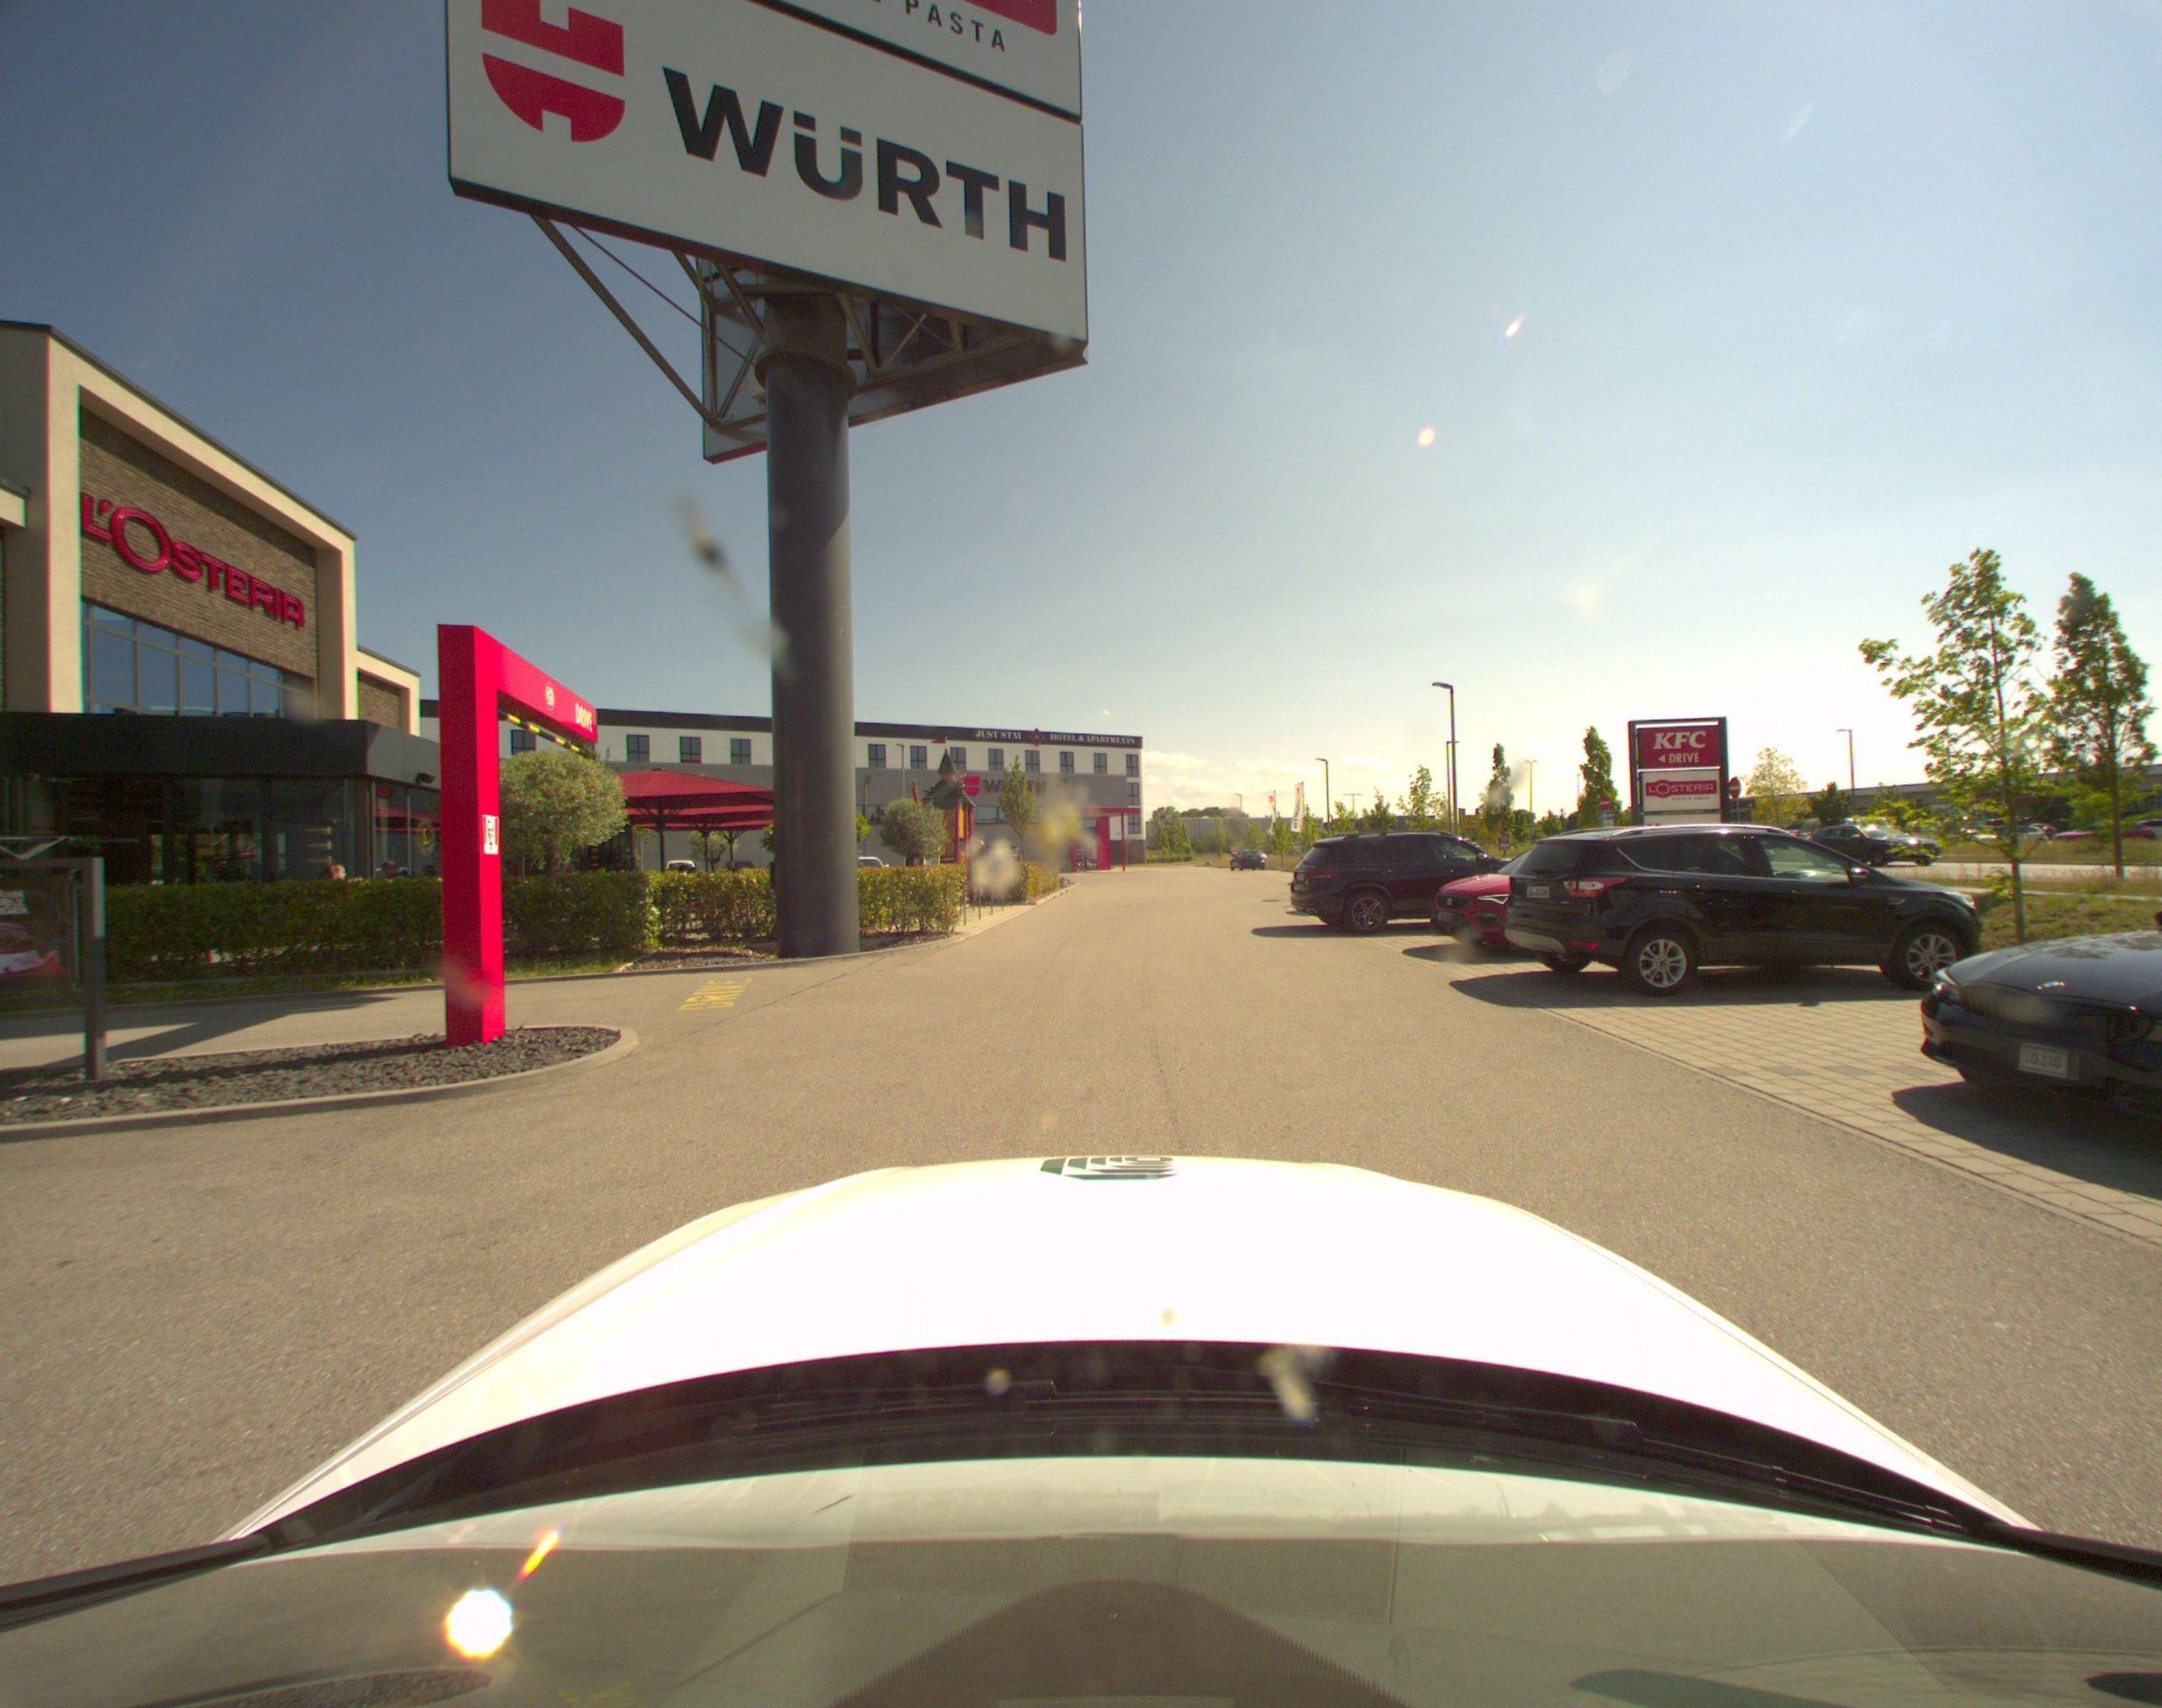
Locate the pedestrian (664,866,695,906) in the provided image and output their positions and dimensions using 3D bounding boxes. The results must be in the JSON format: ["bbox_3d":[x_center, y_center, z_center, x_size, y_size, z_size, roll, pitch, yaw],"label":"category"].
[{"bbox_3d":[-11.201,0.888,22.717,0.575,1.089,0.544,-1,0,-1],"label":"pedestrian"}]

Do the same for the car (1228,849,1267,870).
[{"bbox_3d":[11.549,0.390,56.671,1.695,1.406,3.892,-1,0,-3],"label":"car"}]

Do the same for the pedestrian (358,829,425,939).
[{"bbox_3d":[-9.735,0.412,11.519,0.526,1.505,0.565,-2,0,-20],"label":"pedestrian"}]

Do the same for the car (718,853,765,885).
[{"bbox_3d":[-17.970,0.753,43.024,1.890,1.586,4.071,-2,1,-28],"label":"car"}]

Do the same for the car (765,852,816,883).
[{"bbox_3d":[-15.847,0.696,44.365,1.959,1.586,4.336,-2,1,-28],"label":"car"}]

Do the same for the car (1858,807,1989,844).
[{"bbox_3d":[56.974,-1.906,55.183,6.279,2.237,2.813,-2,0,-4],"label":"car"}]

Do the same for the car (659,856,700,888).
[{"bbox_3d":[-20.655,0.880,41.801,1.741,1.487,3.915,-2,1,-28],"label":"car"}]

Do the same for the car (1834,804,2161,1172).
[{"bbox_3d":[7.043,0.570,4.248,4.419,1.638,1.897,-1,0,2],"label":"car"}]

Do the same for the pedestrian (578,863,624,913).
[{"bbox_3d":[-11.786,0.835,20.010,0.702,1.198,0.619,-1,0,19],"label":"pedestrian"}]

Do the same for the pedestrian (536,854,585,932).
[{"bbox_3d":[-9.485,0.700,14.836,0.654,1.366,0.476,-2,0,-42],"label":"pedestrian"}]

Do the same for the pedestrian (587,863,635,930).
[{"bbox_3d":[-8.719,0.777,15.112,0.654,1.185,0.476,-2,0,-42],"label":"pedestrian"}]

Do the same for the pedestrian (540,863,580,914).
[{"bbox_3d":[-12.742,0.837,19.936,0.711,1.198,0.663,-2,0,-25],"label":"pedestrian"}]

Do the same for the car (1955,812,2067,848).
[{"bbox_3d":[56.626,-1.460,49.602,5.159,2.013,1.995,-2,0,-8],"label":"car"}]

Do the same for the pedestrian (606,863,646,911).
[{"bbox_3d":[-11.790,0.849,21.119,0.707,1.198,0.615,-1,0,-9],"label":"pedestrian"}]

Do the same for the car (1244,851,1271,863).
[{"bbox_3d":[22.580,0.338,104.314,1.876,1.483,3.980,-2,1,-15],"label":"car"}]

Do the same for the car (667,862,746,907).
[{"bbox_3d":[-12.244,0.958,26.841,1.645,1.308,3.823,-2,0,-14],"label":"car"}]

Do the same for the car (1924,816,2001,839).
[{"bbox_3d":[68.947,-2.056,63.794,1.900,1.618,3.670,-2,0,-10],"label":"car"}]

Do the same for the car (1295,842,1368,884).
[{"bbox_3d":[9.897,0.313,32.515,1.828,1.477,4.125,-3,0,4],"label":"car"}]

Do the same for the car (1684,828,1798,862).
[{"bbox_3d":[32.559,-0.439,40.364,1.986,1.504,4.660,-1,1,2],"label":"car"}]

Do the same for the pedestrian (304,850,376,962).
[{"bbox_3d":[-10.286,0.701,11.323,0.526,1.505,0.565,-2,0,-20],"label":"pedestrian"}]

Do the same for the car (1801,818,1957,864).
[{"bbox_3d":[31.559,-0.514,32.427,1.864,1.664,4.608,-1,0,4],"label":"car"}]

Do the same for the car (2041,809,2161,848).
[{"bbox_3d":[56.073,-1.382,44.749,4.056,2.013,2.004,-1,0,6],"label":"car"}]

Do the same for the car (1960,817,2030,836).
[{"bbox_3d":[73.500,-2.183,65.564,1.431,1.400,3.463,-2,0,-18],"label":"car"}]

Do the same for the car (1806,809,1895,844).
[{"bbox_3d":[56.291,-2.000,59.593,5.056,2.455,1.995,-2,0,-8],"label":"car"}]

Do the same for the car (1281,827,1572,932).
[{"bbox_3d":[6.199,0.437,15.015,4.560,1.760,1.895,-1,0,0],"label":"car"}]

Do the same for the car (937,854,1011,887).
[{"bbox_3d":[-4.893,0.715,36.846,1.873,1.362,4.336,-2,1,-28],"label":"car"}]

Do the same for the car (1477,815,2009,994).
[{"bbox_3d":[6.960,0.495,8.936,4.304,1.703,1.895,-1,0,0],"label":"car"}]

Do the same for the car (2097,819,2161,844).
[{"bbox_3d":[71.860,-1.548,54.756,1.993,1.618,3.988,-2,0,-9],"label":"car"}]

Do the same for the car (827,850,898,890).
[{"bbox_3d":[-9.371,0.631,34.675,1.959,1.530,4.336,-2,1,-28],"label":"car"}]

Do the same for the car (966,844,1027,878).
[{"bbox_3d":[-5.091,0.385,48.413,2.082,1.880,4.837,-2,1,-26],"label":"car"}]

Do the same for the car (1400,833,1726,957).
[{"bbox_3d":[7.116,0.525,12.164,4.074,1.608,1.886,-1,0,-14],"label":"car"}]
